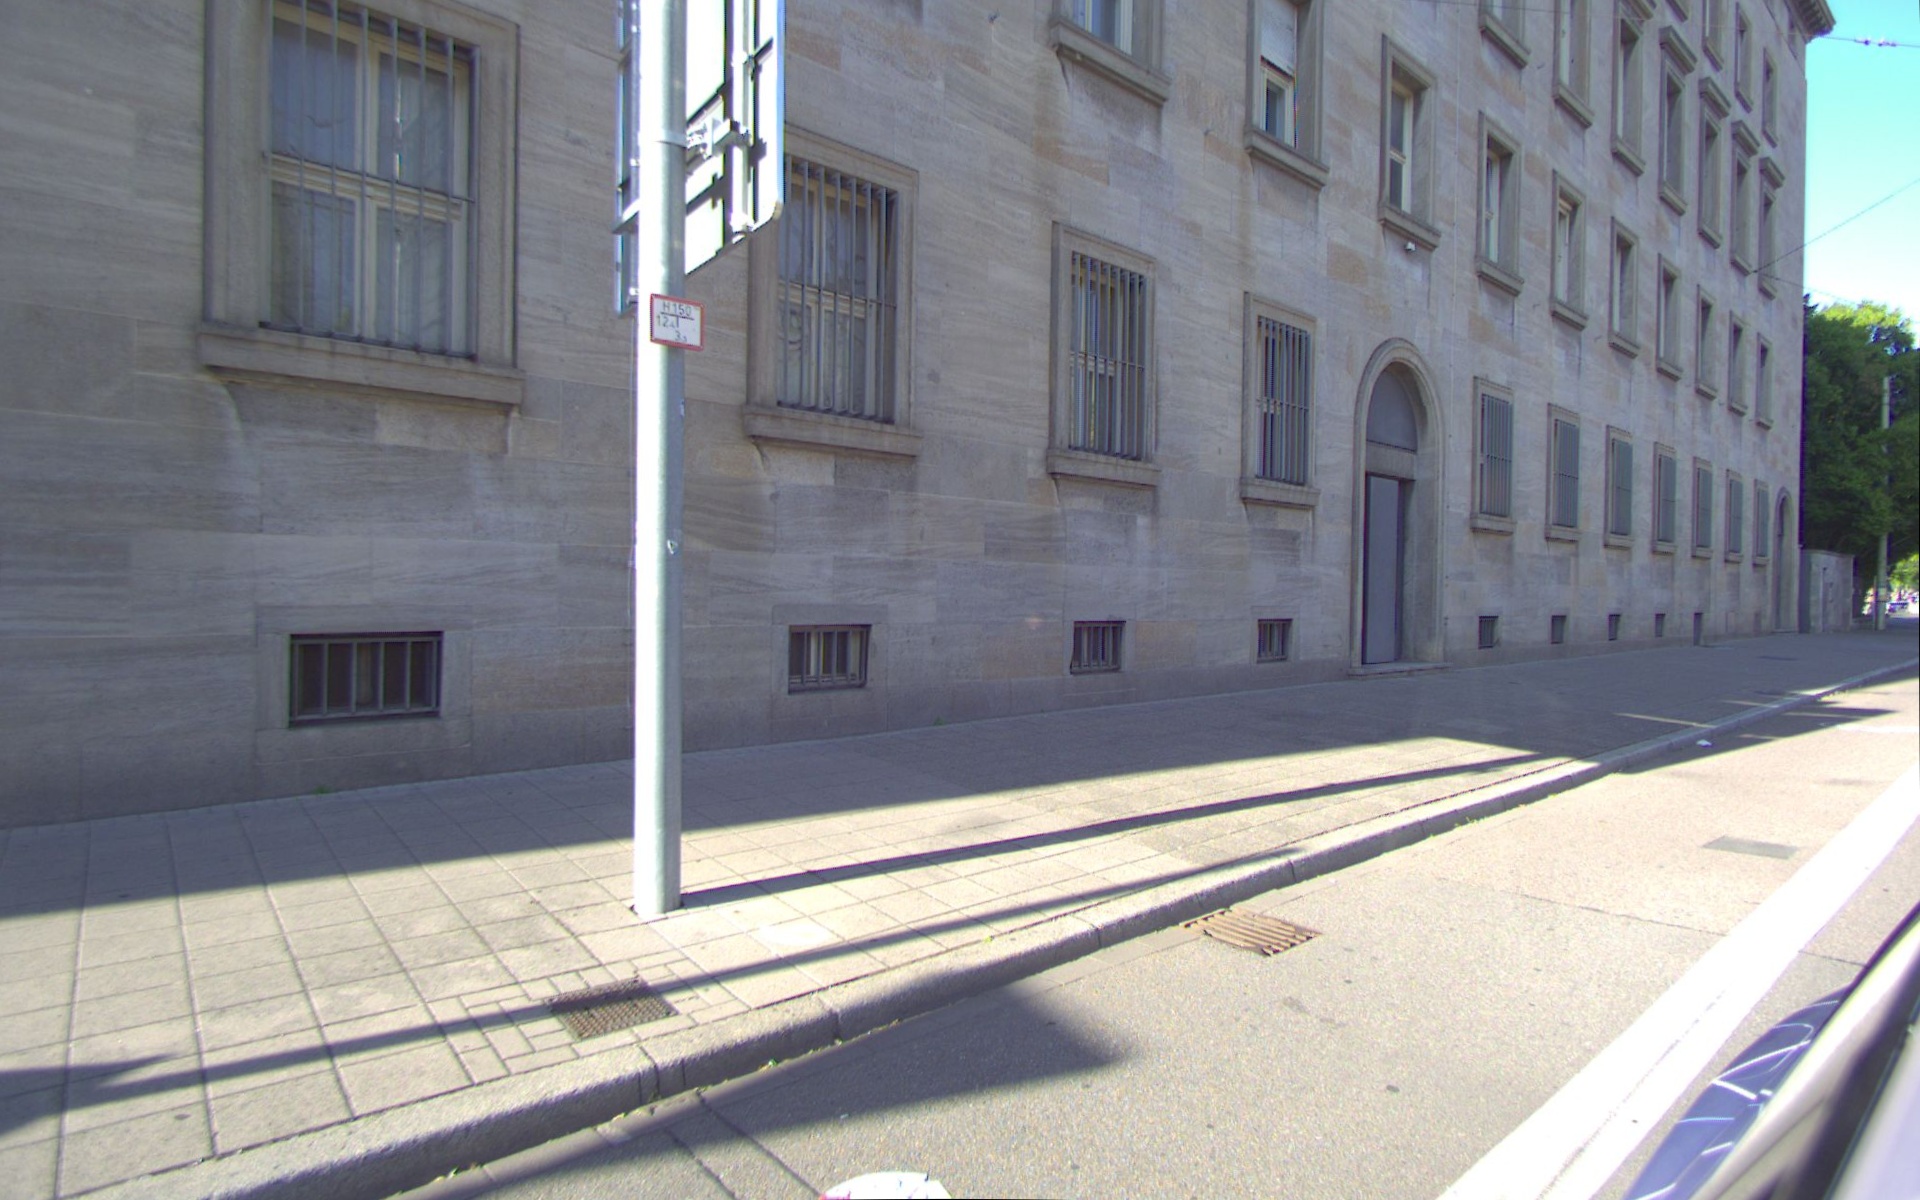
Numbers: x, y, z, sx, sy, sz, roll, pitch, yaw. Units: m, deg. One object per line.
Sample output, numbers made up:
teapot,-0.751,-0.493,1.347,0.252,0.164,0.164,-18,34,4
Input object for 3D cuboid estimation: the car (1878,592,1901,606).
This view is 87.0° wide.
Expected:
car,103.544,-0.150,112.709,1.765,1.455,3.777,1,1,41
